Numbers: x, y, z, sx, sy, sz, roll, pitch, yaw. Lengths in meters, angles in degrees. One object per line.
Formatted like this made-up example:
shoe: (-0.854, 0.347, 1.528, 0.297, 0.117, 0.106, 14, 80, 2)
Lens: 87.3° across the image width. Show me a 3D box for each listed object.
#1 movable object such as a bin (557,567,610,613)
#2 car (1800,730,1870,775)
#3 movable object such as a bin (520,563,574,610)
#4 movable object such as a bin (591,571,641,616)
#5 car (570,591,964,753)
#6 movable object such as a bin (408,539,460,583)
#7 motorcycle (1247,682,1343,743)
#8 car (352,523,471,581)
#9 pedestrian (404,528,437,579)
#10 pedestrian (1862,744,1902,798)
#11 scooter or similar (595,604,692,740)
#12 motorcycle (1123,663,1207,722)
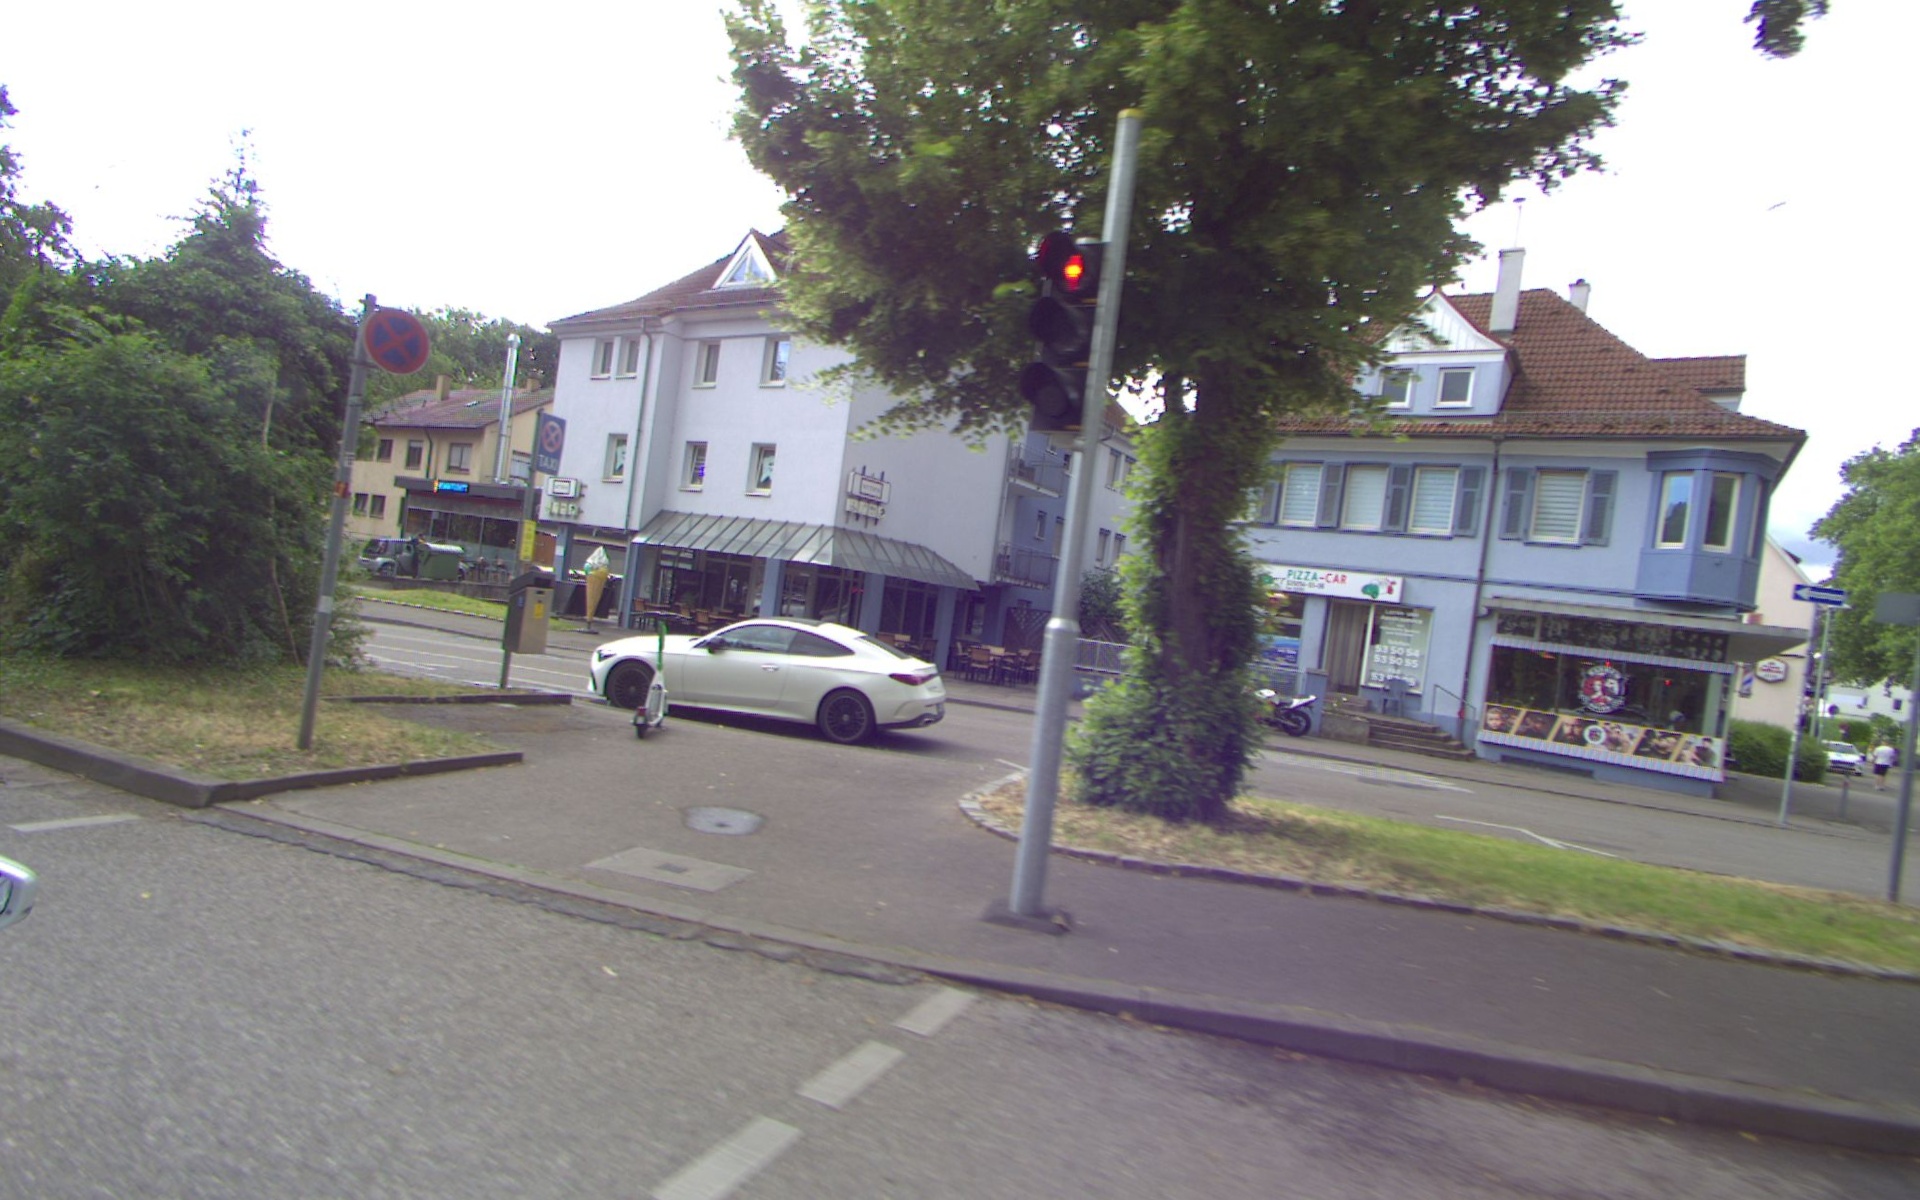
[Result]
movable object such as a bin: (-13.248, -0.337, 35.385, 1.144, 1.412, 1.213, 7, 0, 40)
car: (43.133, 7.481, 49.670, 1.908, 1.749, 3.772, 8, 0, 33)
movable object such as a bin: (-14.103, -0.457, 34.338, 1.079, 1.433, 1.213, 7, 0, 40)
movable object such as a bin: (-12.440, -0.224, 36.408, 1.079, 1.412, 1.213, 7, 0, 40)
car: (-2.460, 0.900, 13.533, 4.697, 1.403, 2.001, 7, 0, 7)
movable object such as a bin: (-18.876, -1.390, 36.105, 0.978, 1.361, 1.218, 7, 0, 30)
motorcycle: (7.087, 2.382, 21.375, 1.788, 0.997, 0.522, 7, 0, 14)
car: (-20.310, -1.767, 37.350, 1.599, 1.650, 3.414, 7, 0, 36)
pedestrian: (-19.693, -1.704, 36.698, 0.601, 1.751, 0.688, 7, 1, 30)
pedestrian: (31.966, 5.922, 34.893, 0.745, 1.718, 0.645, 8, 0, 32)
scooter or similar: (-3.037, 0.683, 9.755, 0.405, 1.179, 1.363, 8, -2, -2)
motorcycle: (4.547, 2.044, 22.351, 1.692, 1.044, 0.490, 7, 1, 14)
